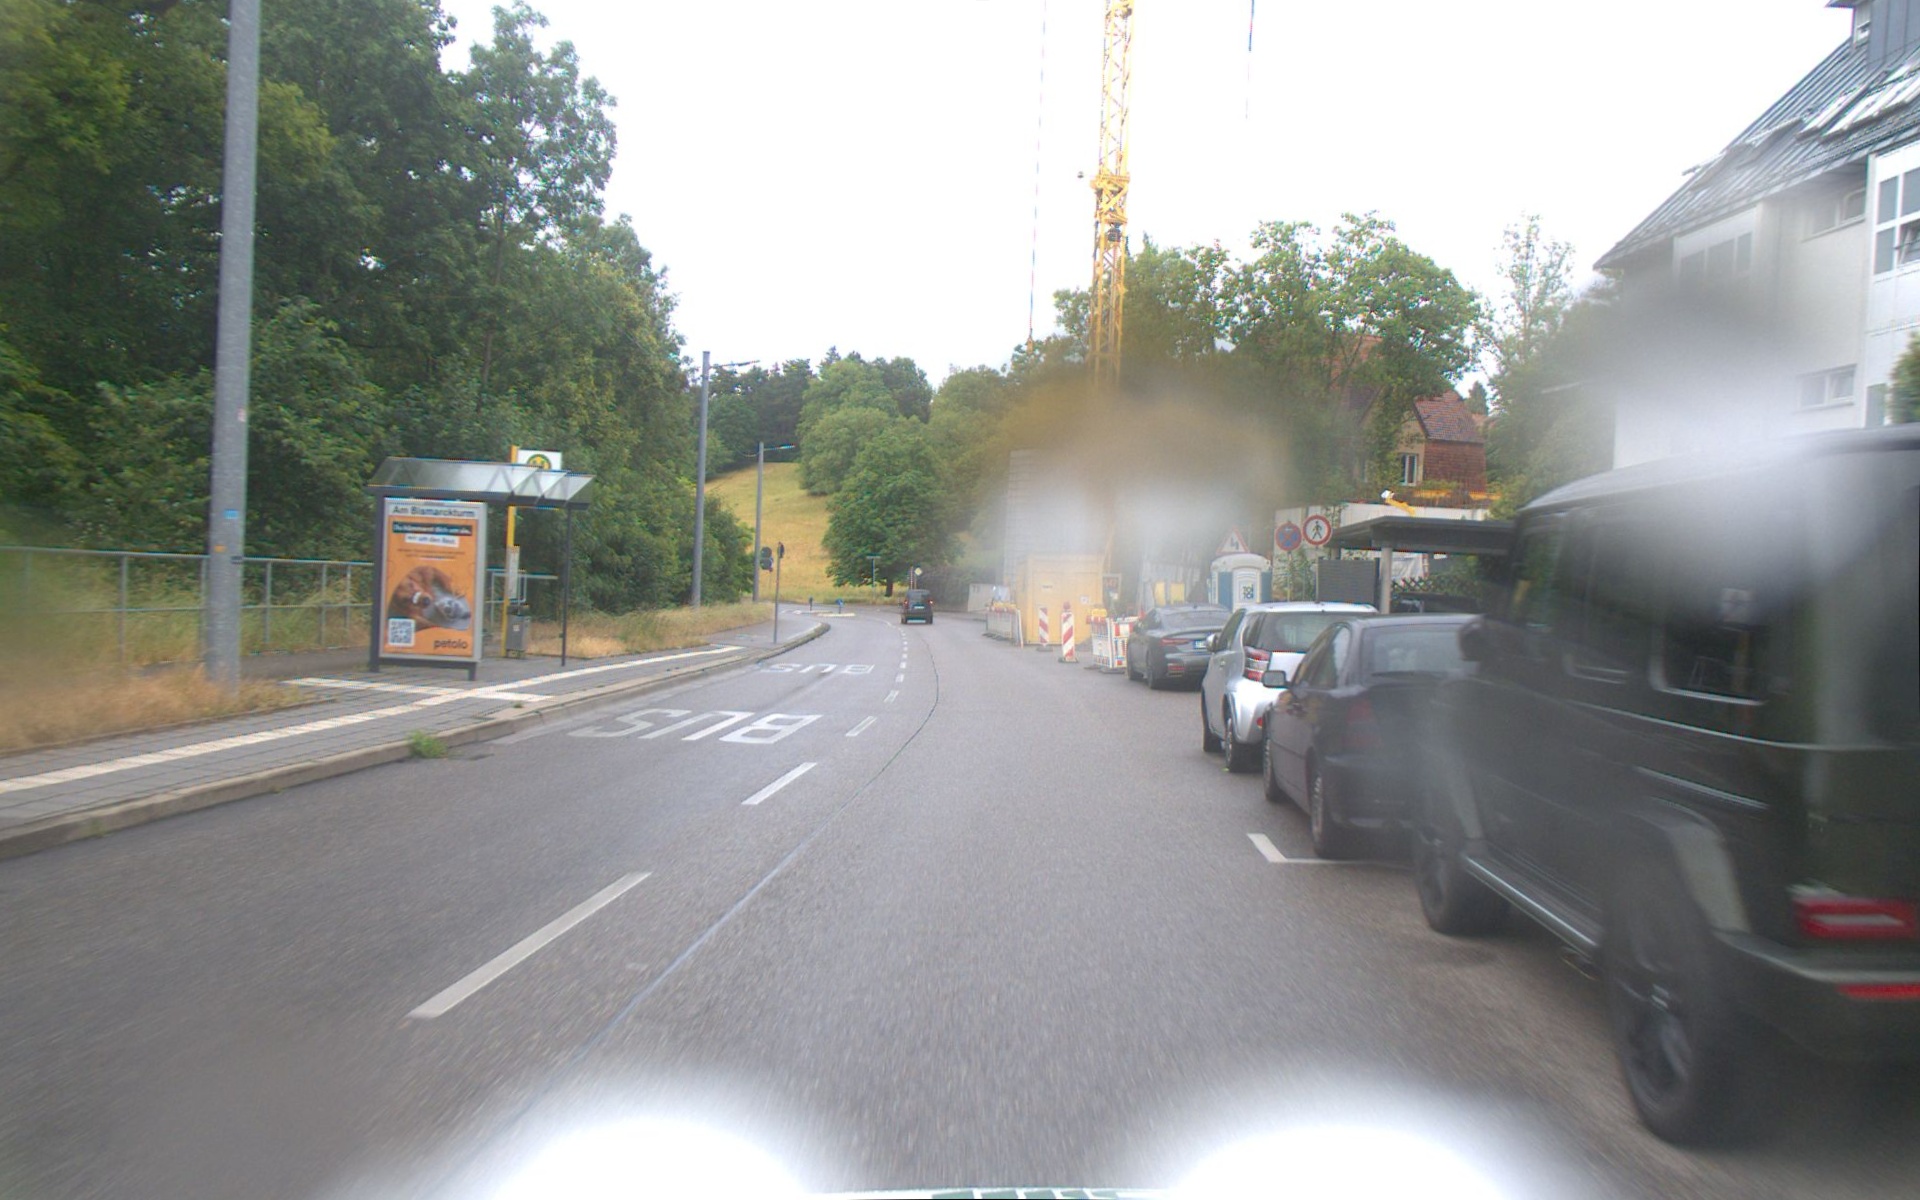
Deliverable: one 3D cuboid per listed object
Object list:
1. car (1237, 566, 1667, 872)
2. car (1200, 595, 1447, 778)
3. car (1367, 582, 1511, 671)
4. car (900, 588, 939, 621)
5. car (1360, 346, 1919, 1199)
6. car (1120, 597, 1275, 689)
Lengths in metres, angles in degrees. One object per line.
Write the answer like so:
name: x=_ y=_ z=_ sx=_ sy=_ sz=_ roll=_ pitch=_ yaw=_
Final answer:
car: x=2.998 y=0.652 z=11.077 sx=1.891 sy=1.624 sz=4.397 roll=-1 pitch=0 yaw=5
car: x=3.226 y=0.705 z=15.261 sx=1.638 sy=1.483 sz=3.387 roll=1 pitch=0 yaw=2
car: x=9.243 y=0.474 z=32.206 sx=1.660 sy=1.497 sz=4.001 roll=4 pitch=0 yaw=2
car: x=-2.259 y=0.246 z=91.529 sx=1.894 sy=1.782 sz=3.996 roll=0 pitch=0 yaw=-5
car: x=2.959 y=0.467 z=5.999 sx=1.952 sy=2.049 sz=4.958 roll=-1 pitch=0 yaw=2
car: x=4.138 y=0.703 z=29.626 sx=1.893 sy=1.447 sz=4.835 roll=1 pitch=0 yaw=-2
